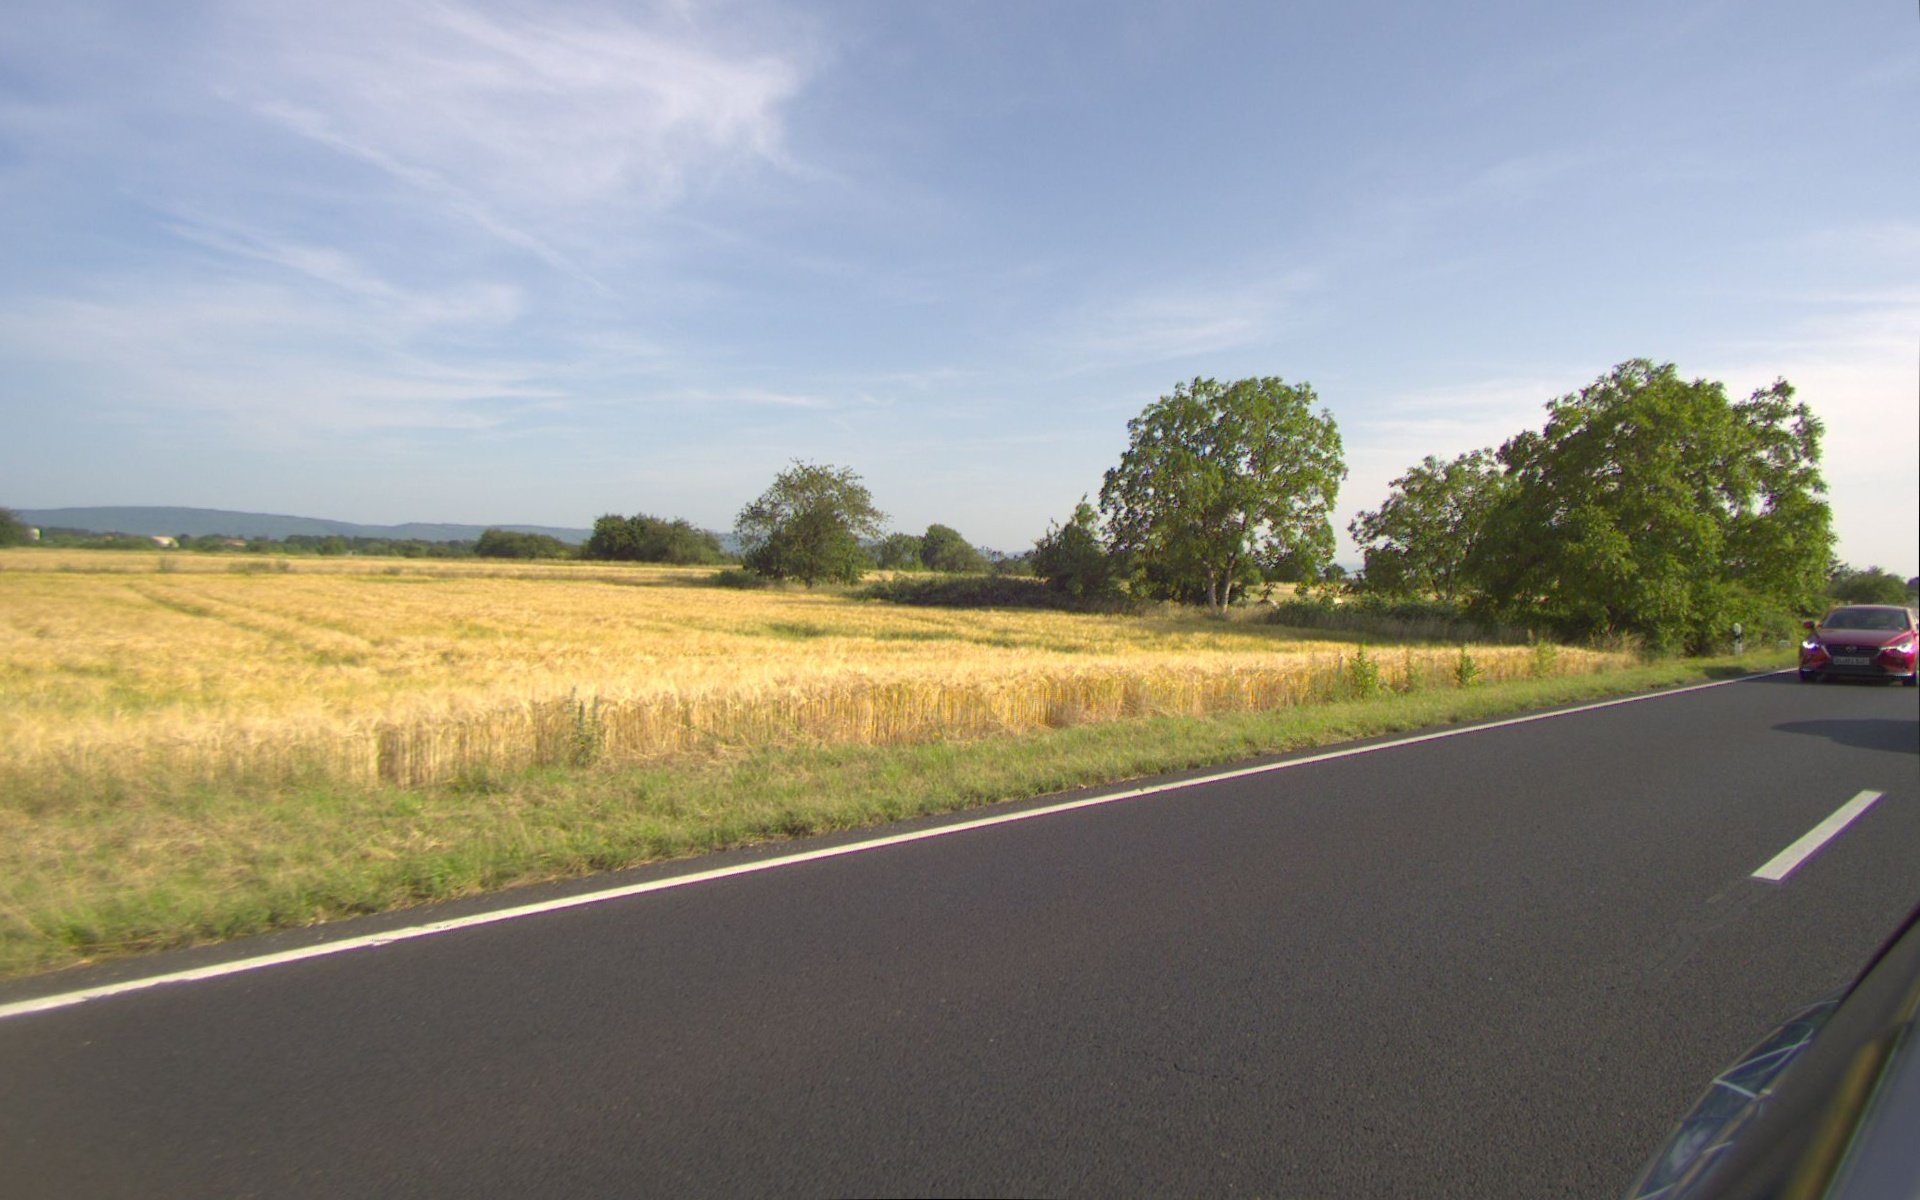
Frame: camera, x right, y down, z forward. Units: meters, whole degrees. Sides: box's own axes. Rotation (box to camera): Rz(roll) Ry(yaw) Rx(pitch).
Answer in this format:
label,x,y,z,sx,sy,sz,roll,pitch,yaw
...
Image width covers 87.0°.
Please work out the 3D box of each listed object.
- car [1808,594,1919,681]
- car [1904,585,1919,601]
label,x,y,z,sx,sy,sz,roll,pitch,yaw
car,18.509,0.662,20.290,4.423,1.524,1.707,-1,1,-42
car,164.576,-1.148,170.902,2.049,2.702,7.229,0,2,-27
